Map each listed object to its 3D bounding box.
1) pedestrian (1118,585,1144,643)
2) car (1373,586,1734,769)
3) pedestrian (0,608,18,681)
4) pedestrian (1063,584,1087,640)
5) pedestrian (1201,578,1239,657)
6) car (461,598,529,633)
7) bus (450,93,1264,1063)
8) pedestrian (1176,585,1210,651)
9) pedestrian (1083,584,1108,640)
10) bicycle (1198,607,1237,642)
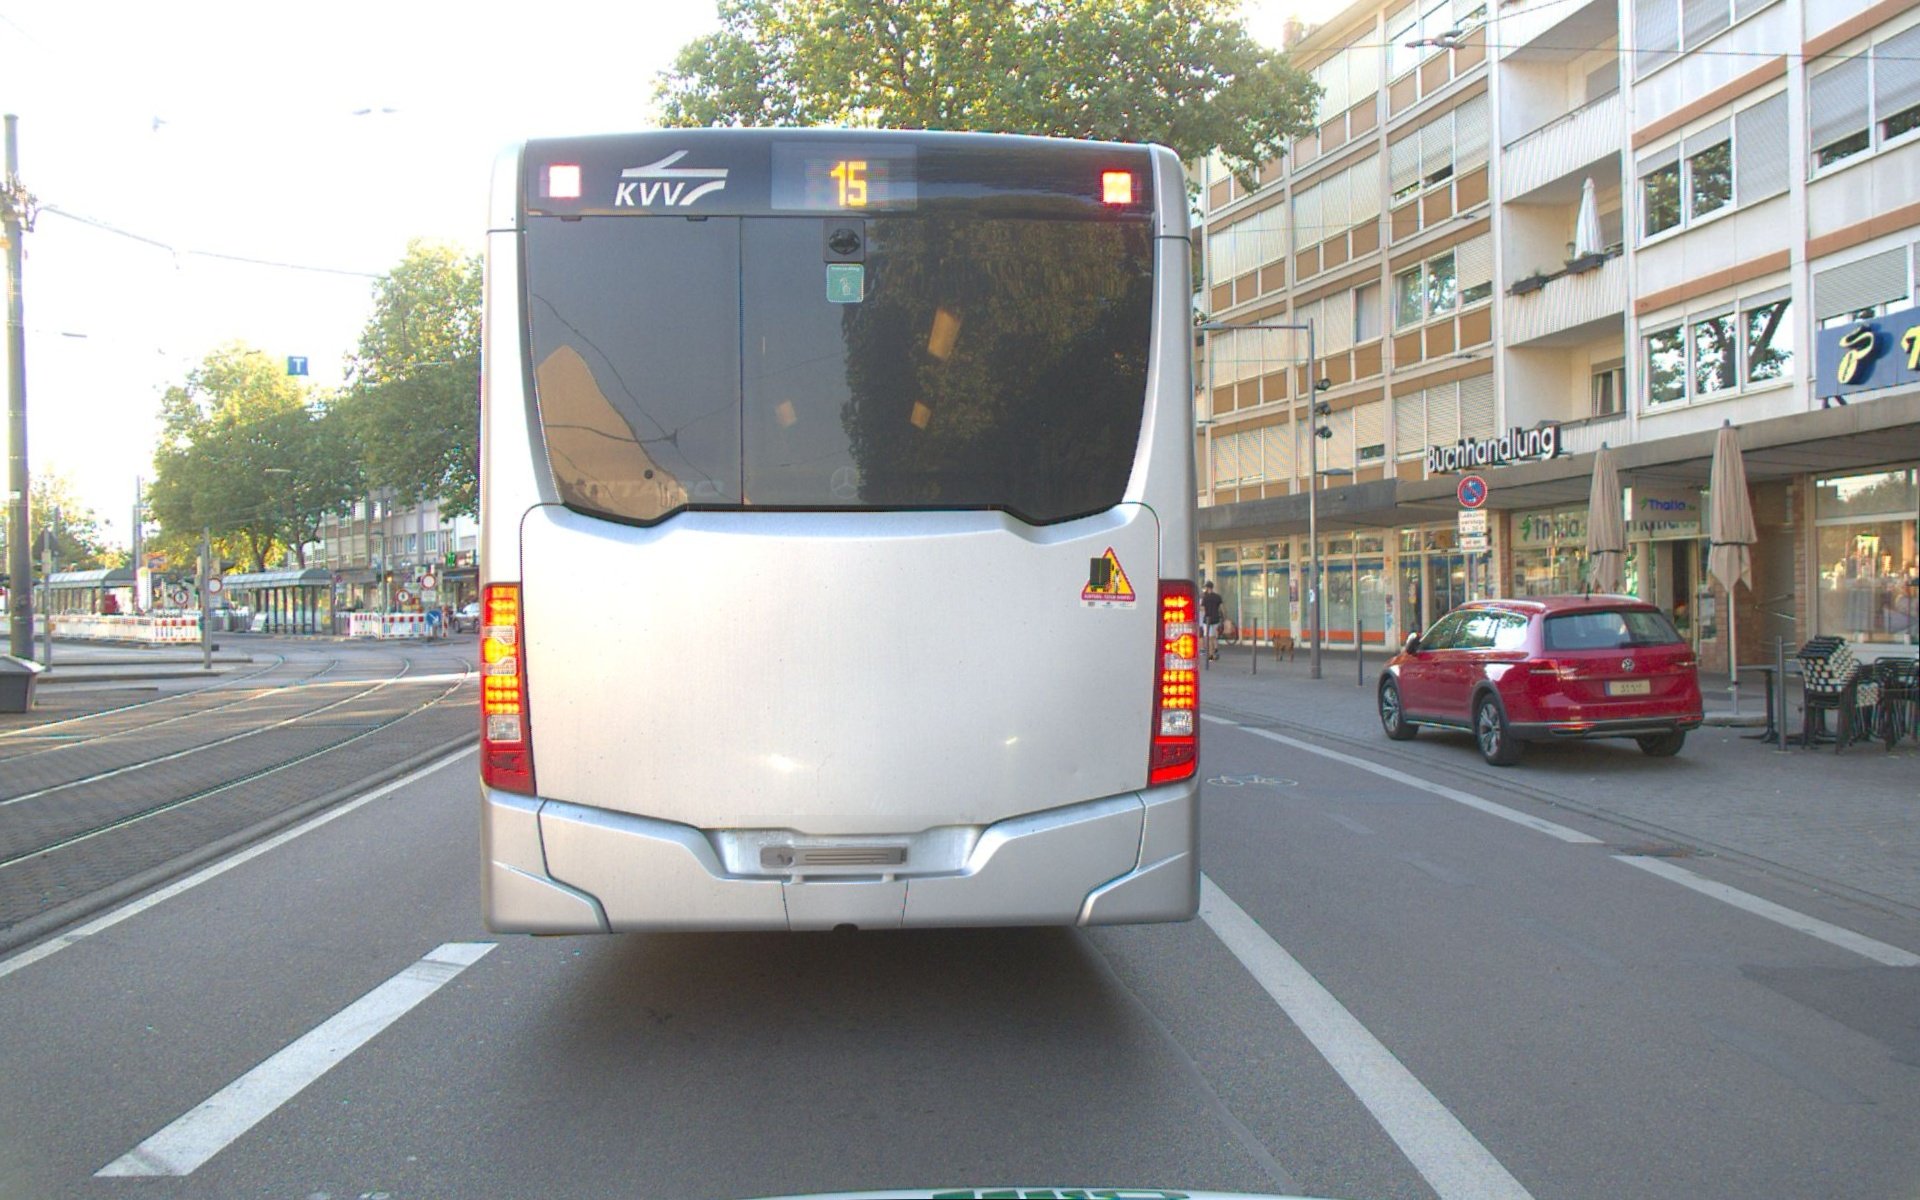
[{"bbox_3d":[4.987,0.402,48.141,0.527,1.677,0.612,-1,0,-18],"label":"pedestrian"},{"bbox_3d":[5.675,0.667,16.442,1.735,1.508,4.299,-2,0,-5],"label":"car"},{"bbox_3d":[-22.904,1.049,39.028,0.977,1.716,0.642,0,-2,-13],"label":"pedestrian"},{"bbox_3d":[3.462,0.369,49.819,0.527,1.677,0.612,-1,0,-18],"label":"pedestrian"},{"bbox_3d":[5.852,0.389,37.276,0.634,1.747,0.557,-1,0,-17],"label":"pedestrian"},{"bbox_3d":[-24.597,0.821,87.393,1.982,1.823,3.940,1,-1,-41],"label":"car"},{"bbox_3d":[-0.402,-0.062,10.282,2.577,3.081,9.995,0,0,-1],"label":"bus"},{"bbox_3d":[5.702,0.434,40.553,0.634,1.609,0.557,-1,0,-17],"label":"pedestrian"},{"bbox_3d":[4.120,0.369,50.264,0.527,1.677,0.612,-1,0,-18],"label":"pedestrian"},{"bbox_3d":[7.183,0.670,46.116,0.406,0.961,1.431,-1,0,-21],"label":"bicycle"}]
